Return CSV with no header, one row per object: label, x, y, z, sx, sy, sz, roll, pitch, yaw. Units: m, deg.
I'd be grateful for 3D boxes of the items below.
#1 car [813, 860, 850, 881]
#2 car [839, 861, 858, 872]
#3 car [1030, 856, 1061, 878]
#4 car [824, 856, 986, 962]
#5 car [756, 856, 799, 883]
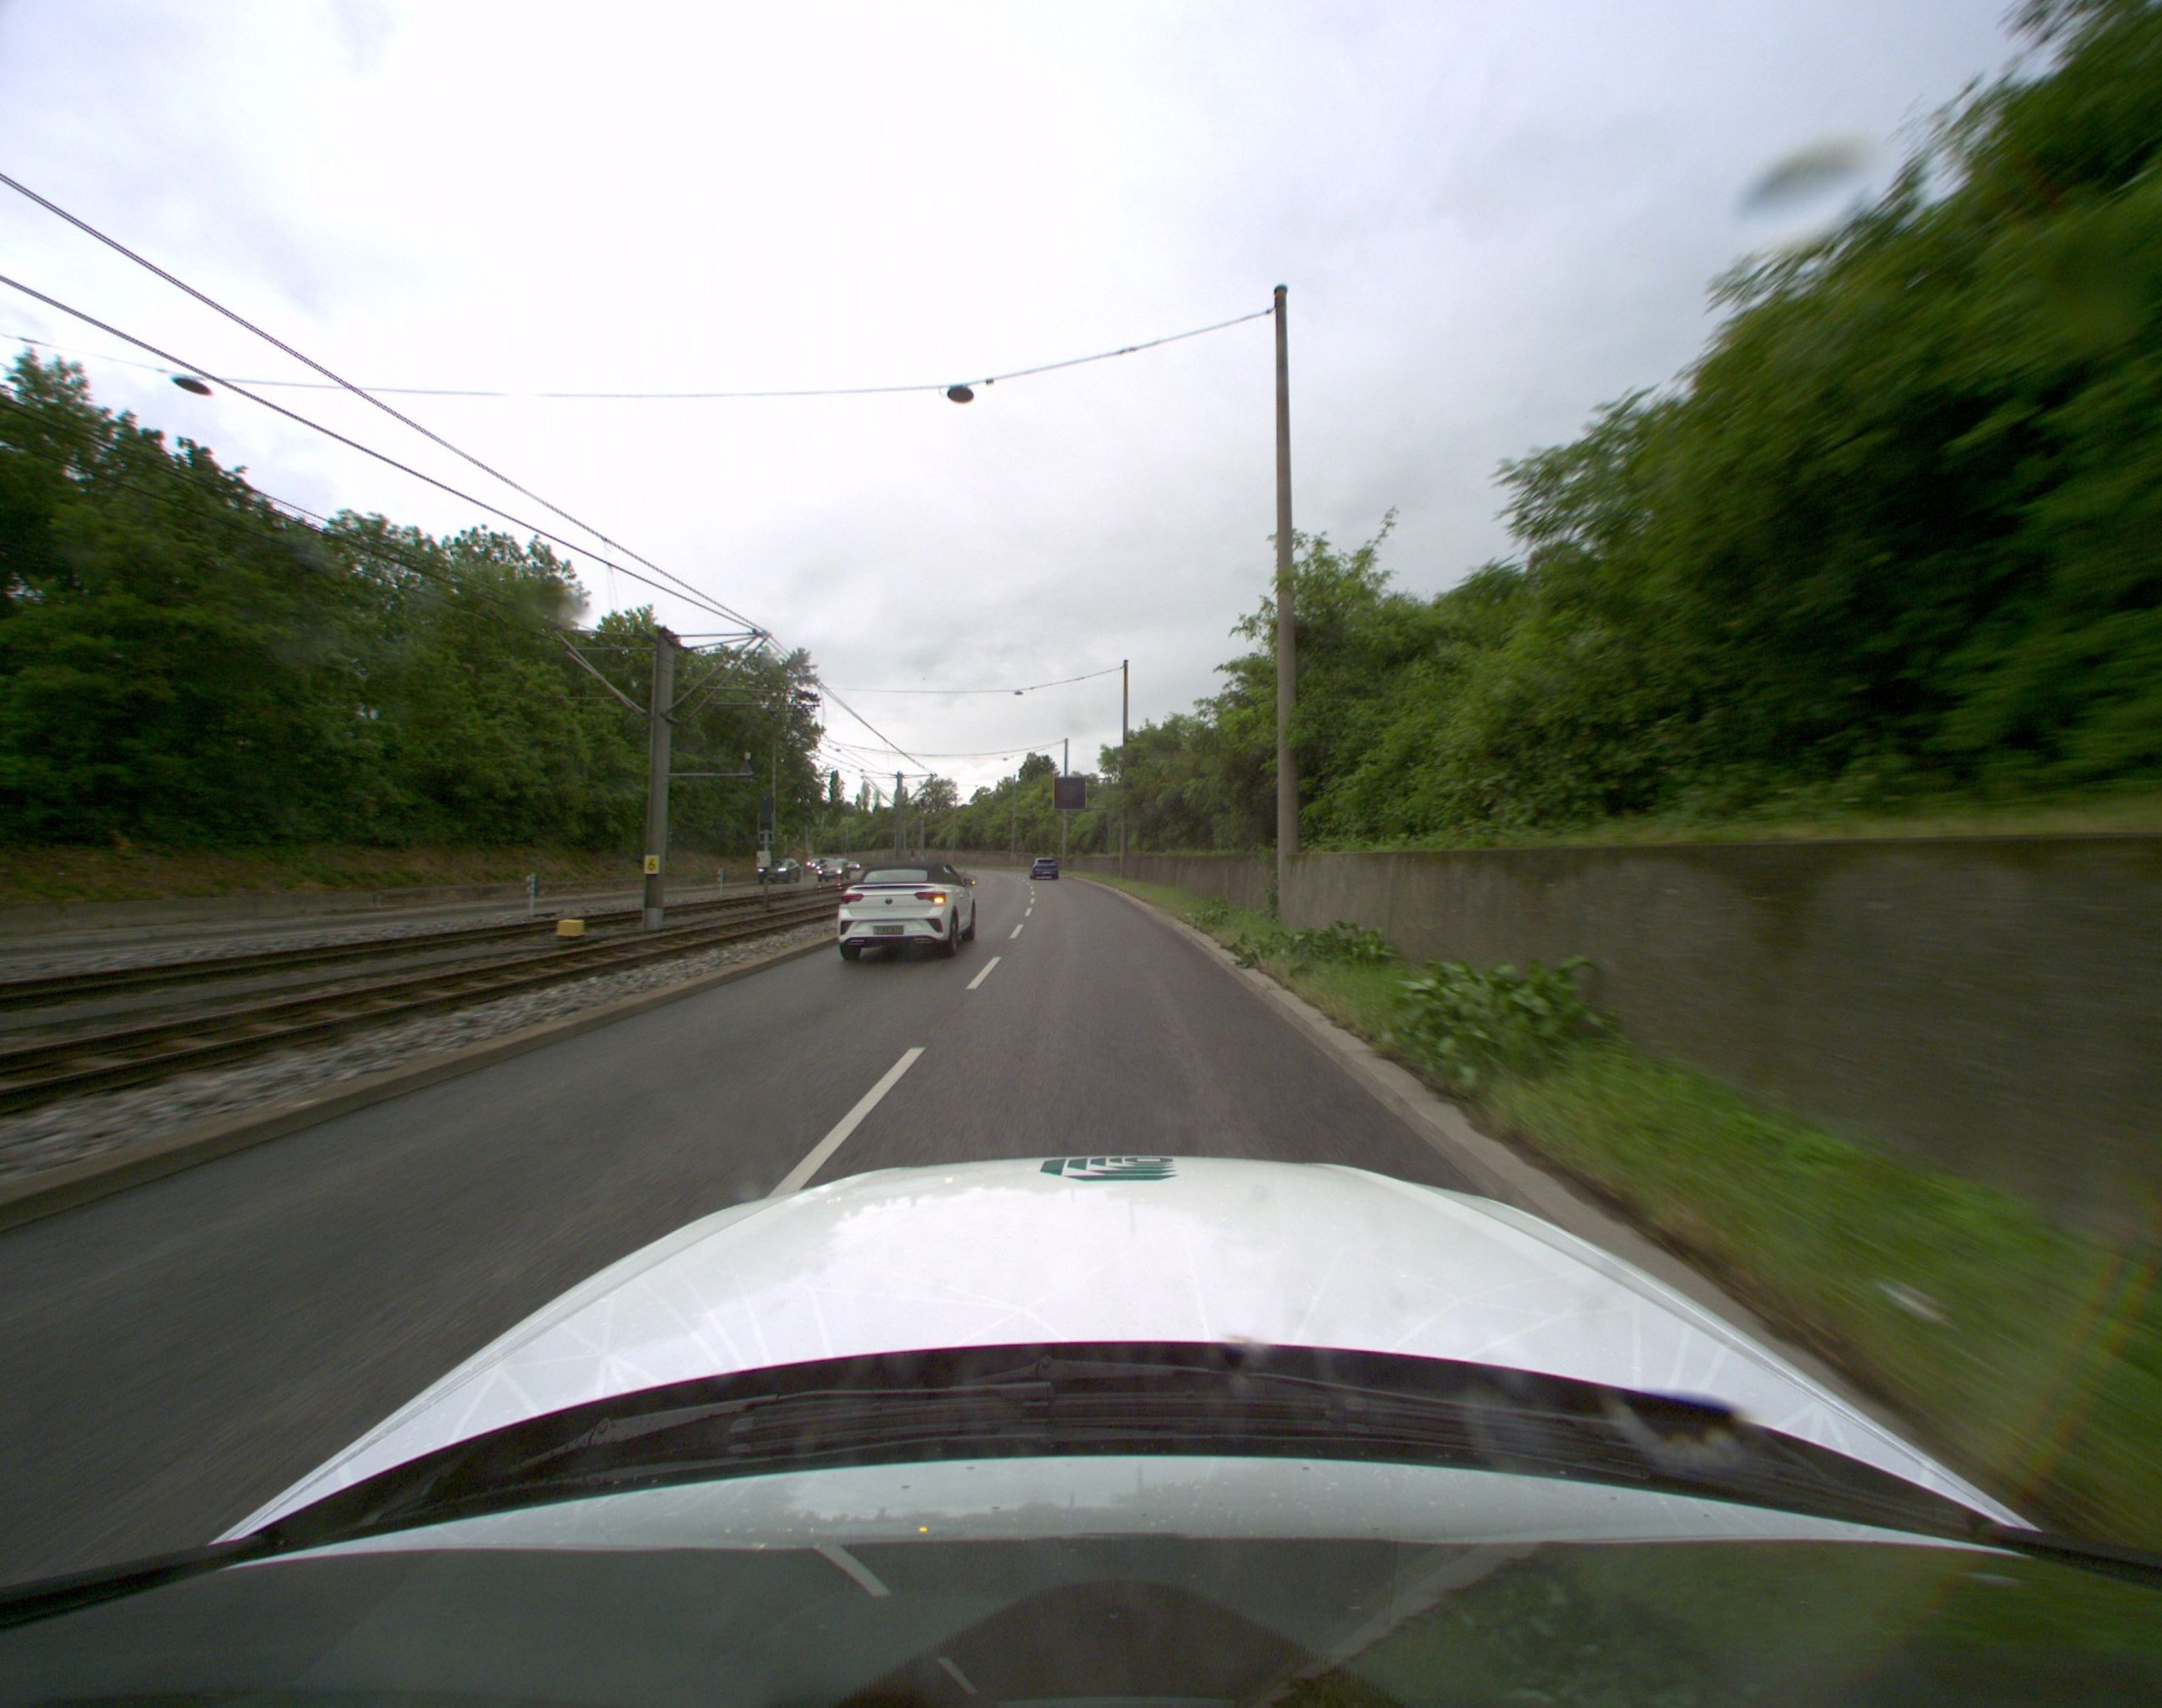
car,-16.918,1.107,55.431,1.704,1.415,4.023,0,-1,-6
car,-28.634,1.537,100.240,1.552,1.258,3.925,-2,0,-26
car,-2.491,0.879,55.867,1.762,1.501,3.989,0,-1,-8
car,-2.855,0.821,14.285,1.866,1.524,4.538,-1,0,-1
car,-19.905,0.998,53.544,1.784,1.669,4.723,-1,0,-10
